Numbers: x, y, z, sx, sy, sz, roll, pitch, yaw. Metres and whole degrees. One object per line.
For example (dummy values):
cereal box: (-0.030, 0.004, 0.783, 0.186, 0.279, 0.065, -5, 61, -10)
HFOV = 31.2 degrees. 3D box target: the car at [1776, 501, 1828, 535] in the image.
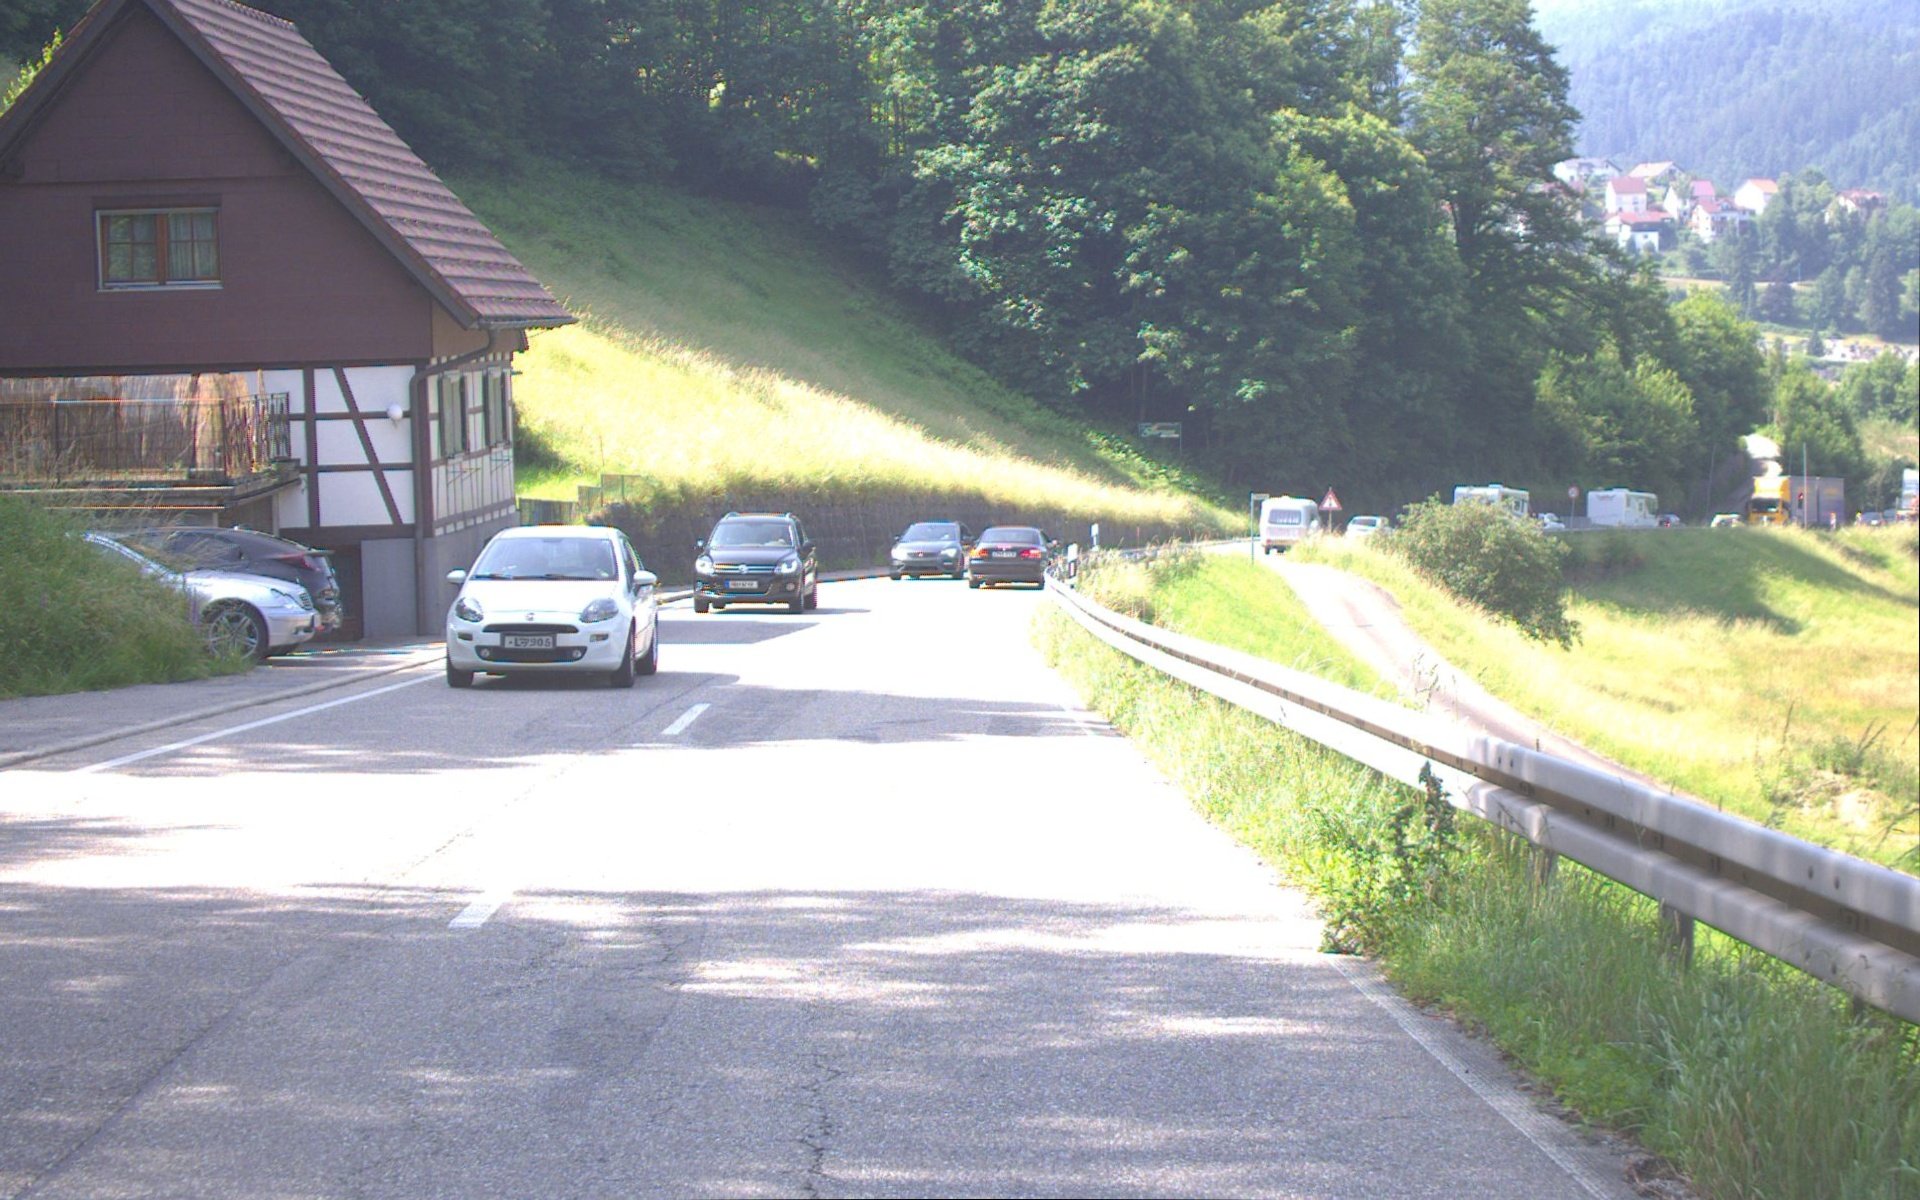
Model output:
car: (54.108, -5.268, 220.987, 1.997, 1.919, 3.993, 5, 2, 31)

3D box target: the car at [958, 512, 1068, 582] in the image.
car: (1.182, -1.173, 74.893, 1.772, 1.331, 3.766, 2, 3, 10)

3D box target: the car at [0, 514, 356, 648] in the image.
car: (-8.878, -0.232, 38.556, 3.816, 1.428, 1.864, 0, 2, 3)

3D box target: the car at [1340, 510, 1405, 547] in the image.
car: (18.609, -3.244, 155.078, 1.996, 1.479, 3.996, 4, 4, 20)

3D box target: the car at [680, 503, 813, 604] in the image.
car: (-3.533, -0.788, 57.621, 1.889, 1.639, 4.258, 0, 1, 1)

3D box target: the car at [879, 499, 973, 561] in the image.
car: (-0.814, -1.745, 84.971, 1.765, 1.391, 4.144, 1, 3, 8)

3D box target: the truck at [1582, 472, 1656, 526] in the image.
truck: (36.936, -5.657, 192.631, 2.241, 2.794, 6.222, 3, 2, 28)

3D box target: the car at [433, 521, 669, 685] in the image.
car: (-3.791, 0.000, 32.423, 1.777, 1.432, 4.000, -1, 1, -1)

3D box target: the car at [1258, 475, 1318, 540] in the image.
car: (12.936, -3.663, 135.299, 1.994, 2.344, 4.913, 2, 3, 9)

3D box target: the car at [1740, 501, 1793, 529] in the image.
car: (49.909, -5.239, 212.725, 1.910, 1.480, 3.993, 7, 3, 31)

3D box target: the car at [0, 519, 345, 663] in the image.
car: (-8.527, -0.114, 35.923, 3.816, 1.412, 1.857, 0, 2, 3)

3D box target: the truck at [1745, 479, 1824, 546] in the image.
truck: (56.713, -6.073, 236.389, 3.194, 4.381, 6.560, 4, 4, 31)

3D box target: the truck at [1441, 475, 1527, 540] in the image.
truck: (26.418, -4.677, 173.048, 2.794, 2.987, 6.862, 4, 4, 20)
